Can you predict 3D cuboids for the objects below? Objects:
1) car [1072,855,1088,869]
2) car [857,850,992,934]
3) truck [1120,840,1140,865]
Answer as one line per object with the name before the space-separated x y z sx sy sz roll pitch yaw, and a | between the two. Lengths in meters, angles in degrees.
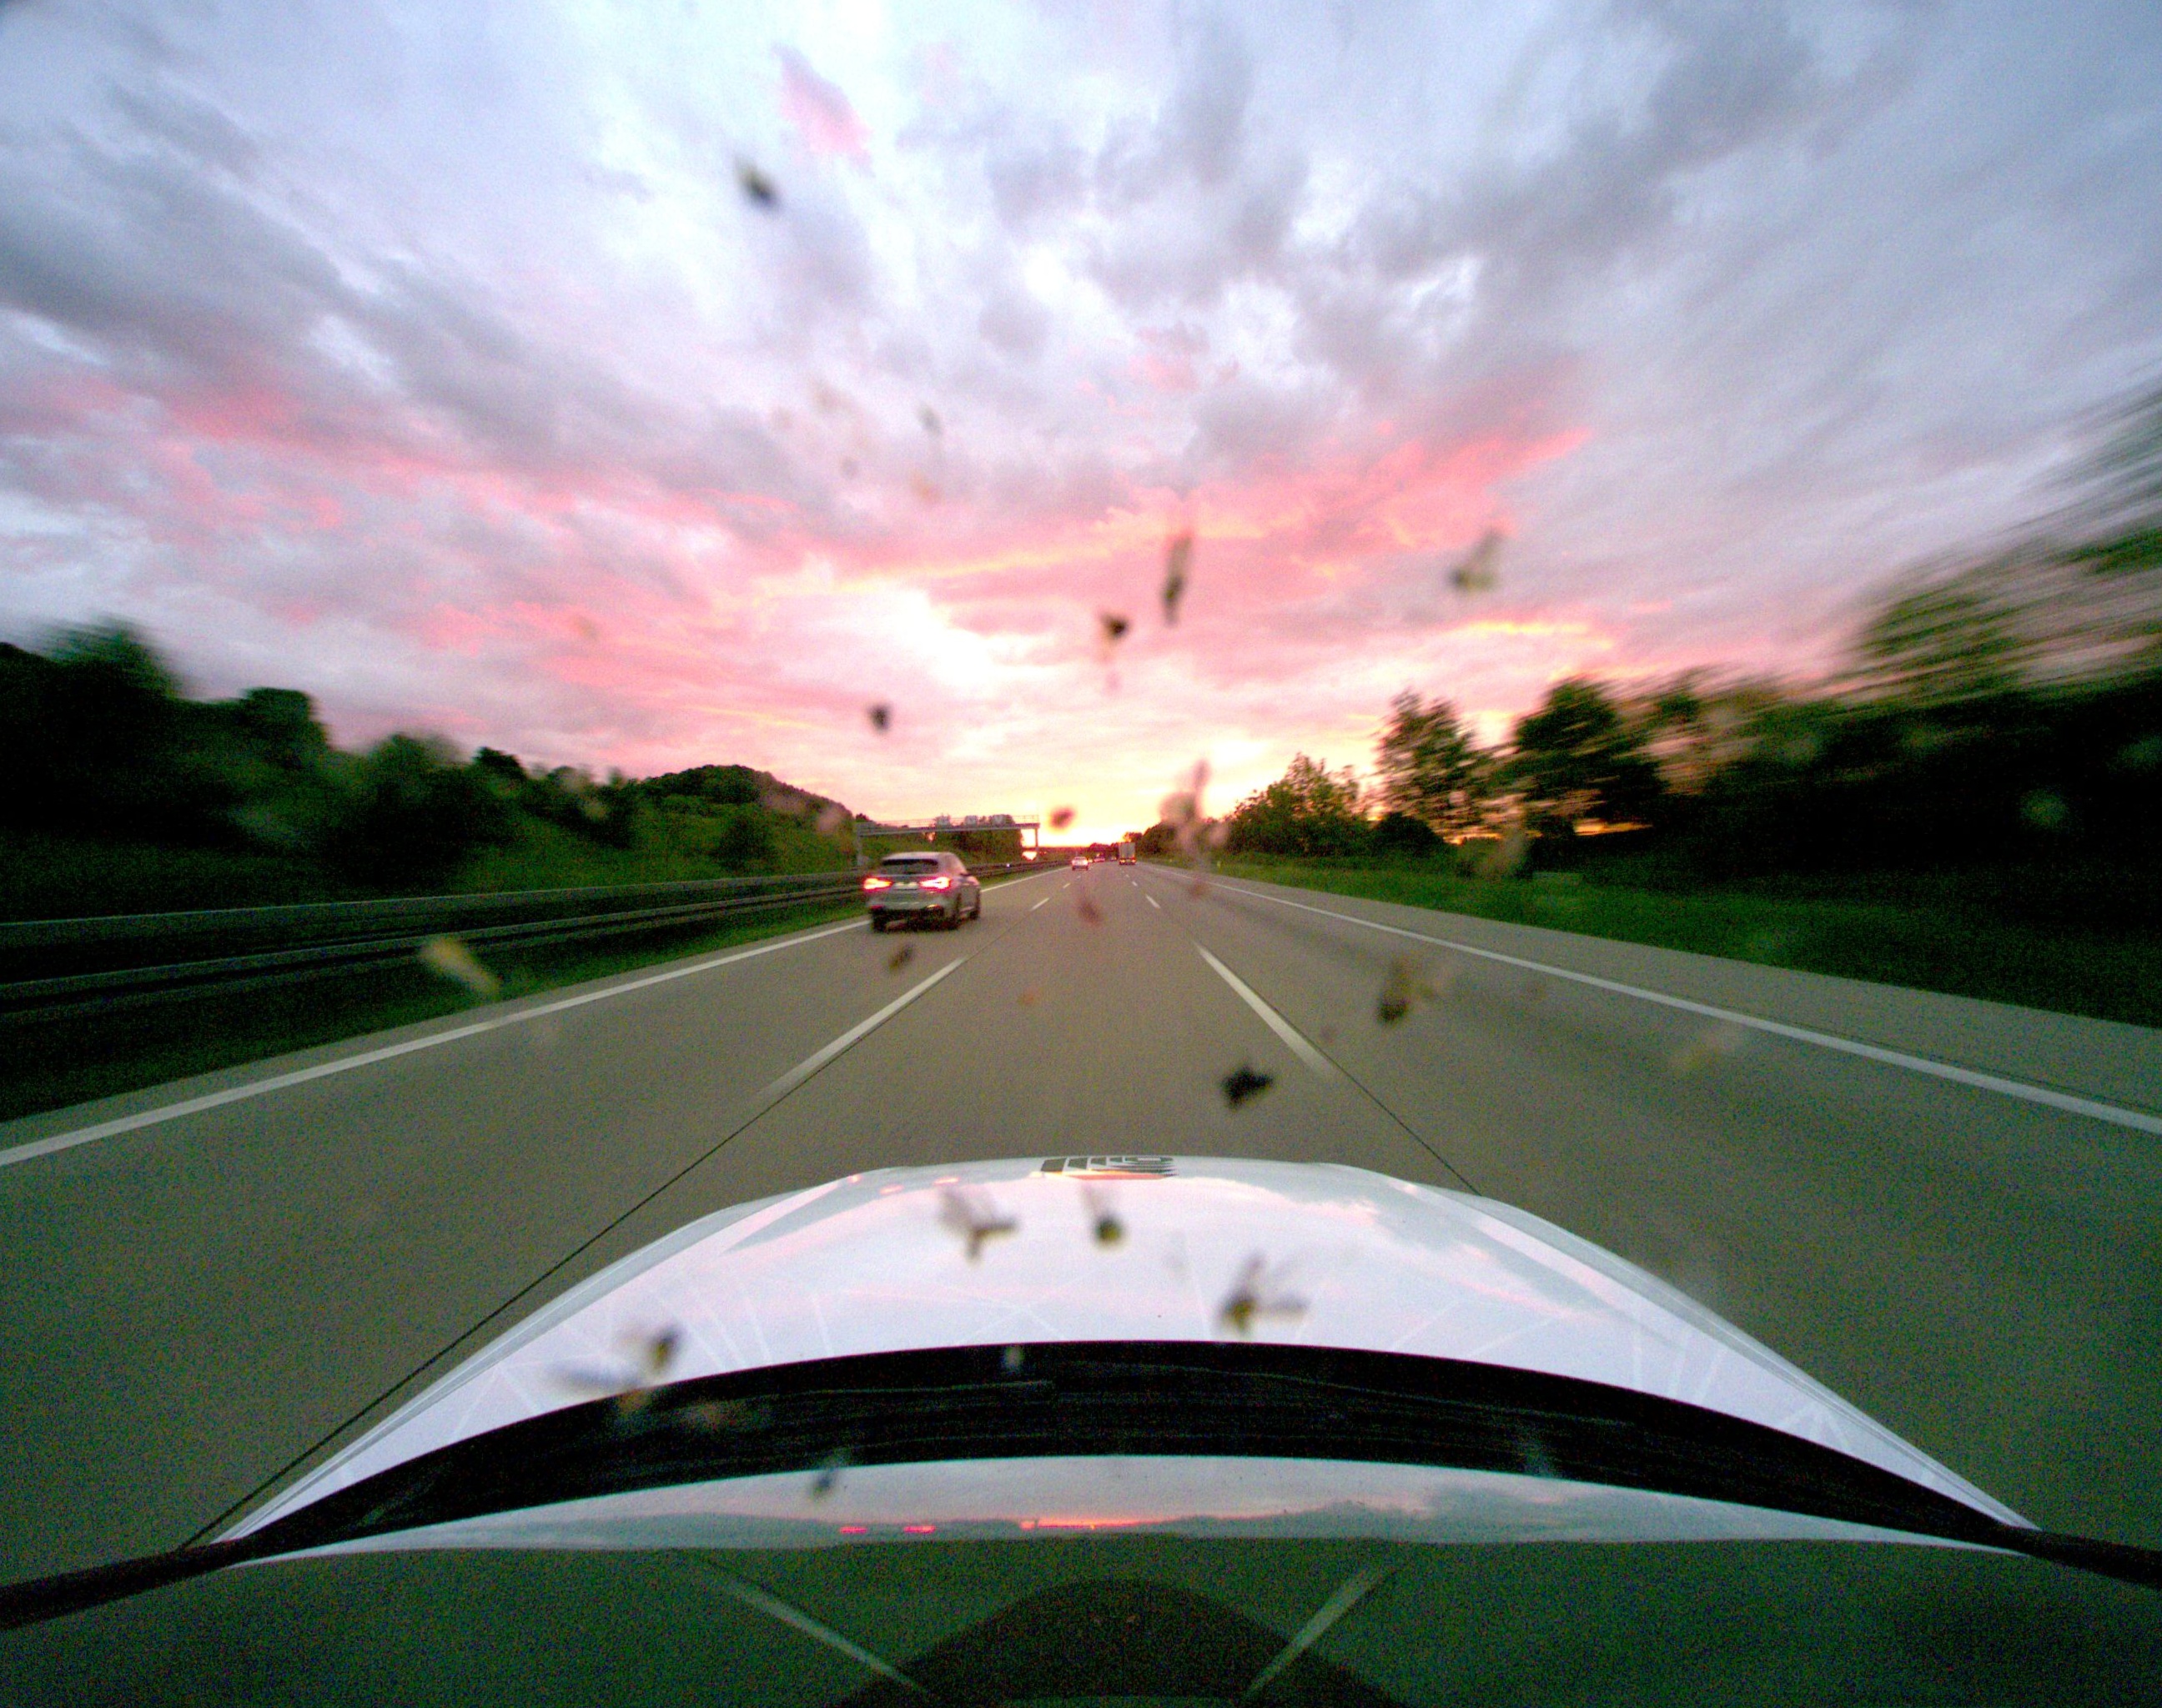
car | -0.078 0.903 94.059 1.783 1.501 5.039 0 0 1
car | -3.460 0.768 19.186 1.882 1.660 5.642 -1 0 2
truck | 8.415 -0.242 141.002 3.231 4.127 9.794 -2 0 3
